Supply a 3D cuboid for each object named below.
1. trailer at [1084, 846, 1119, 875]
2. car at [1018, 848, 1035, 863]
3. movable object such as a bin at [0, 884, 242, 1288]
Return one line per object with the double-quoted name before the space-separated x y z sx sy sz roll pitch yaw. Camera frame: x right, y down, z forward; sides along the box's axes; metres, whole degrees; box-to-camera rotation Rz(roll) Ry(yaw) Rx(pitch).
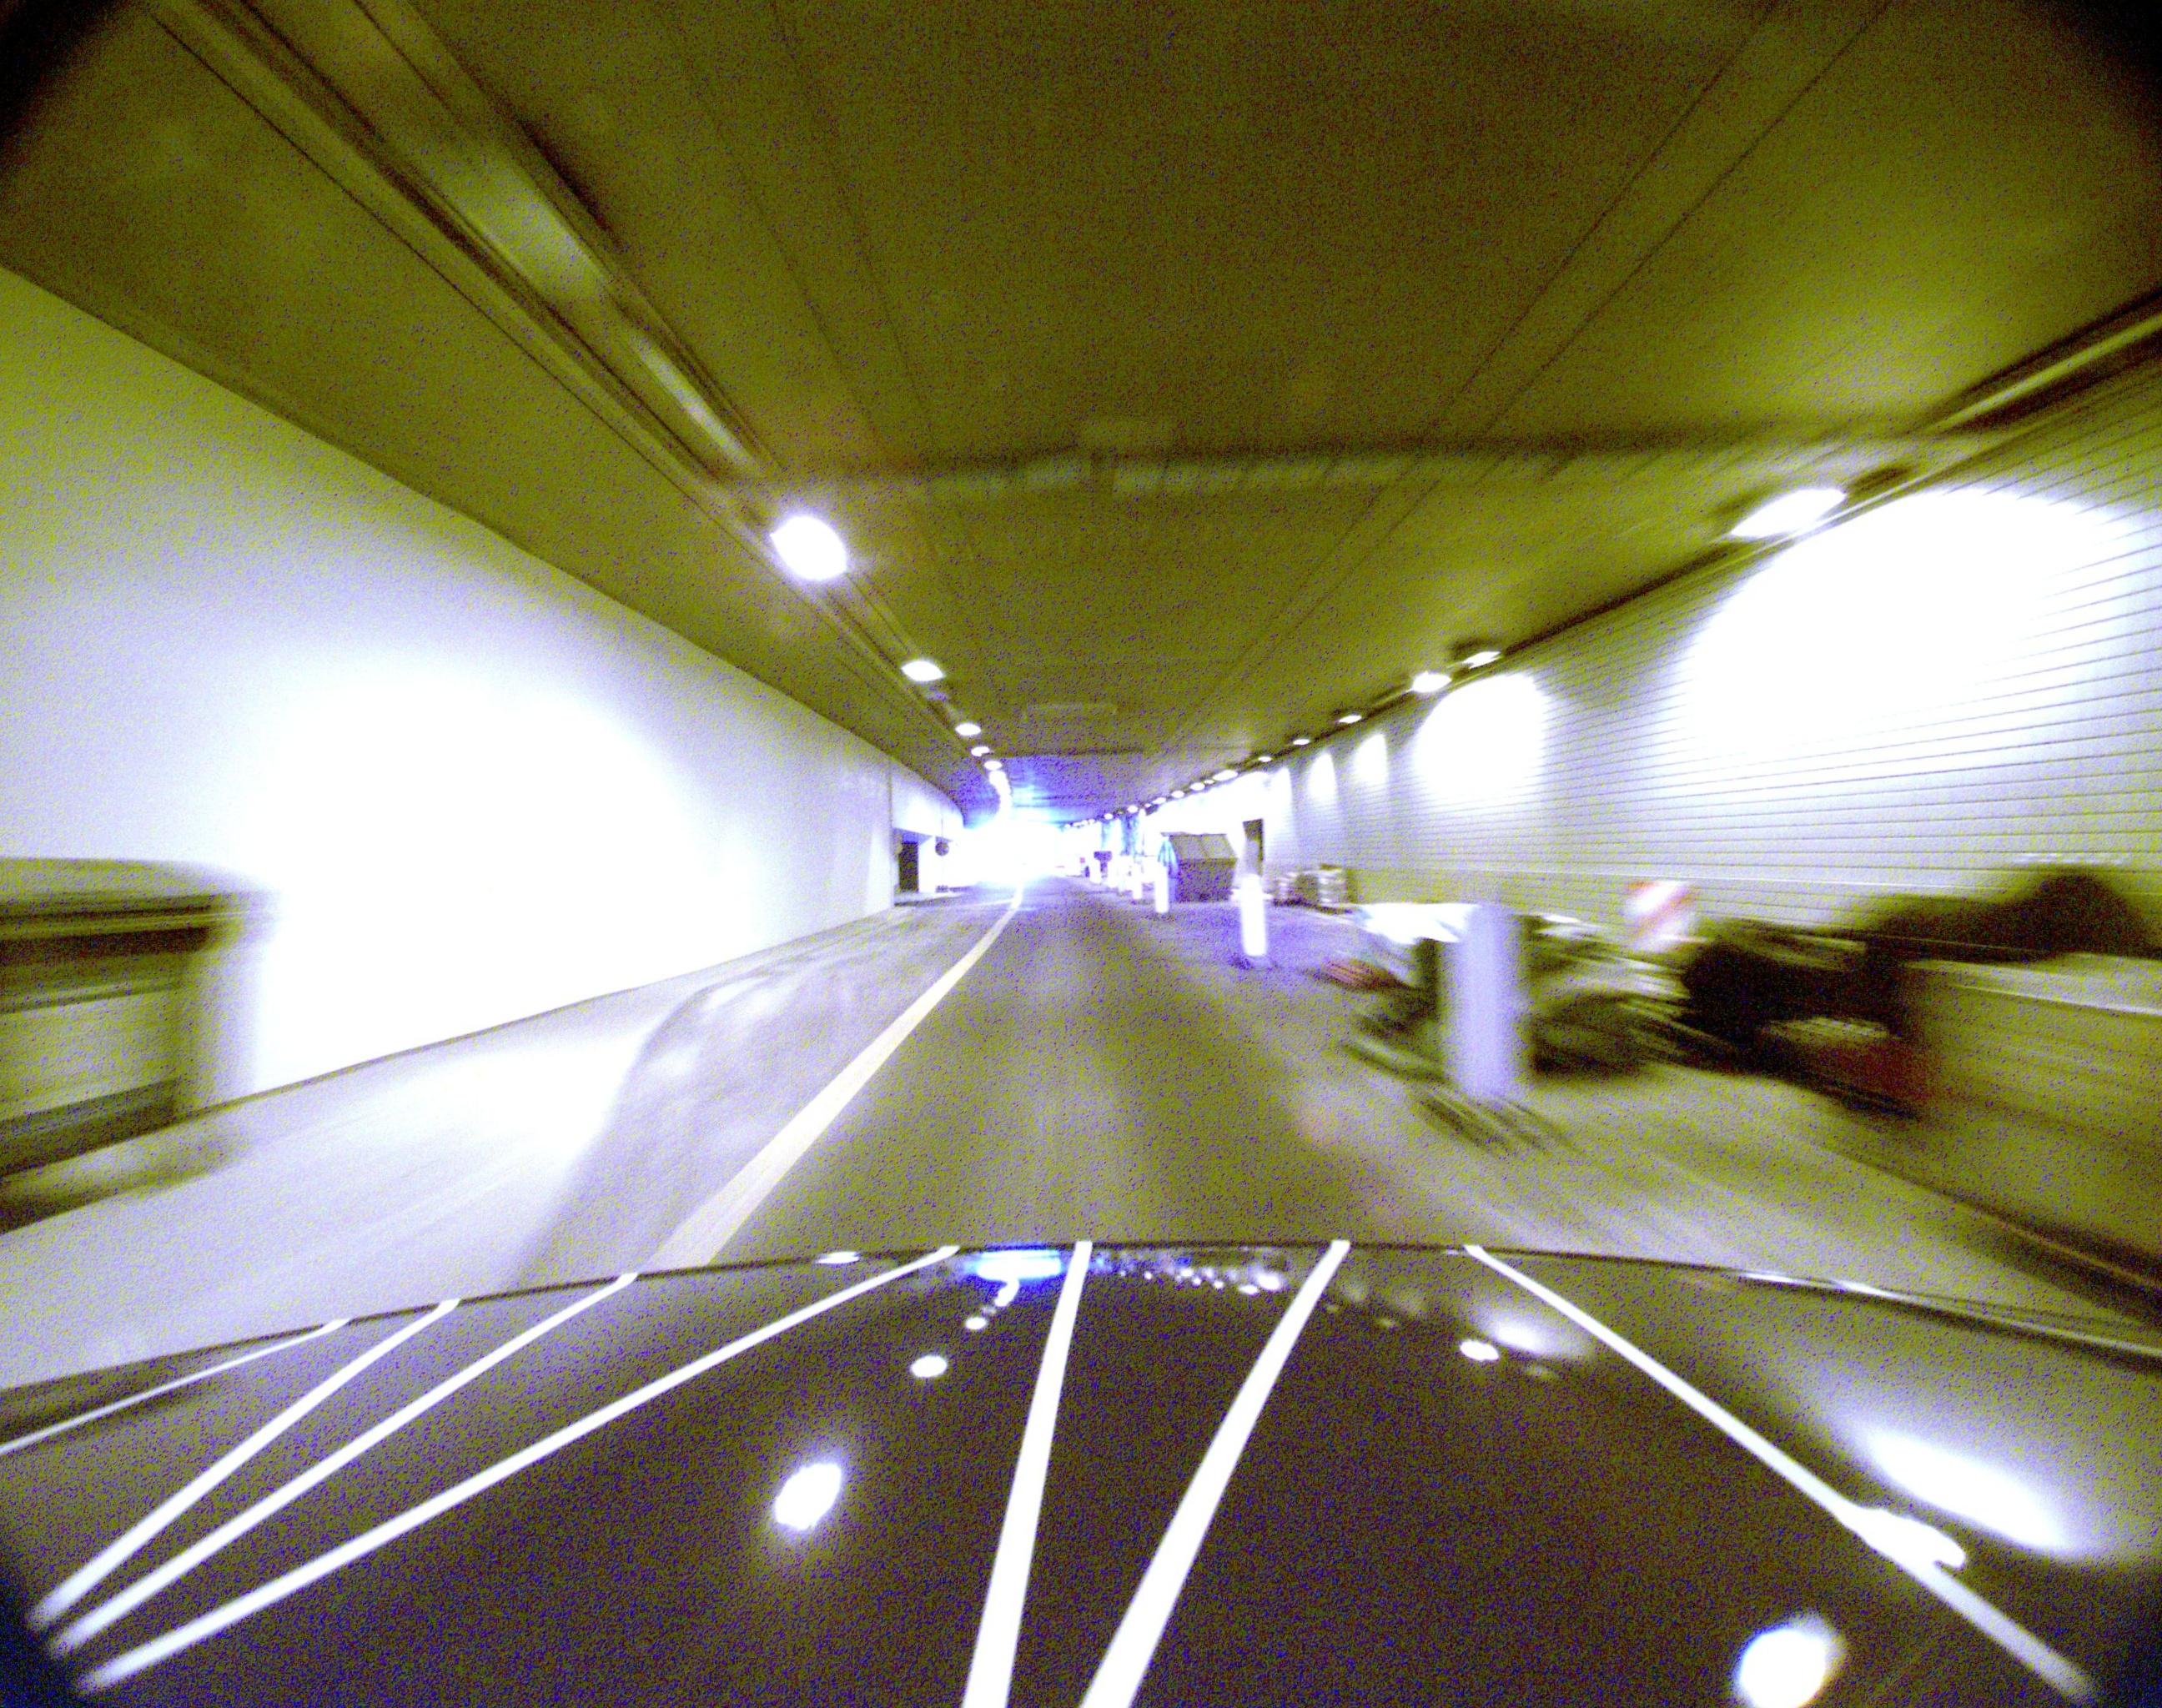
"trailer" 1.253 0.388 48.560 1.644 1.781 3.119 -2 1 -9
"car" -7.040 0.193 97.996 2.000 1.743 3.997 -2 1 -7
"movable object such as a bin" -4.523 0.882 2.896 1.100 1.437 1.322 -2 1 0
